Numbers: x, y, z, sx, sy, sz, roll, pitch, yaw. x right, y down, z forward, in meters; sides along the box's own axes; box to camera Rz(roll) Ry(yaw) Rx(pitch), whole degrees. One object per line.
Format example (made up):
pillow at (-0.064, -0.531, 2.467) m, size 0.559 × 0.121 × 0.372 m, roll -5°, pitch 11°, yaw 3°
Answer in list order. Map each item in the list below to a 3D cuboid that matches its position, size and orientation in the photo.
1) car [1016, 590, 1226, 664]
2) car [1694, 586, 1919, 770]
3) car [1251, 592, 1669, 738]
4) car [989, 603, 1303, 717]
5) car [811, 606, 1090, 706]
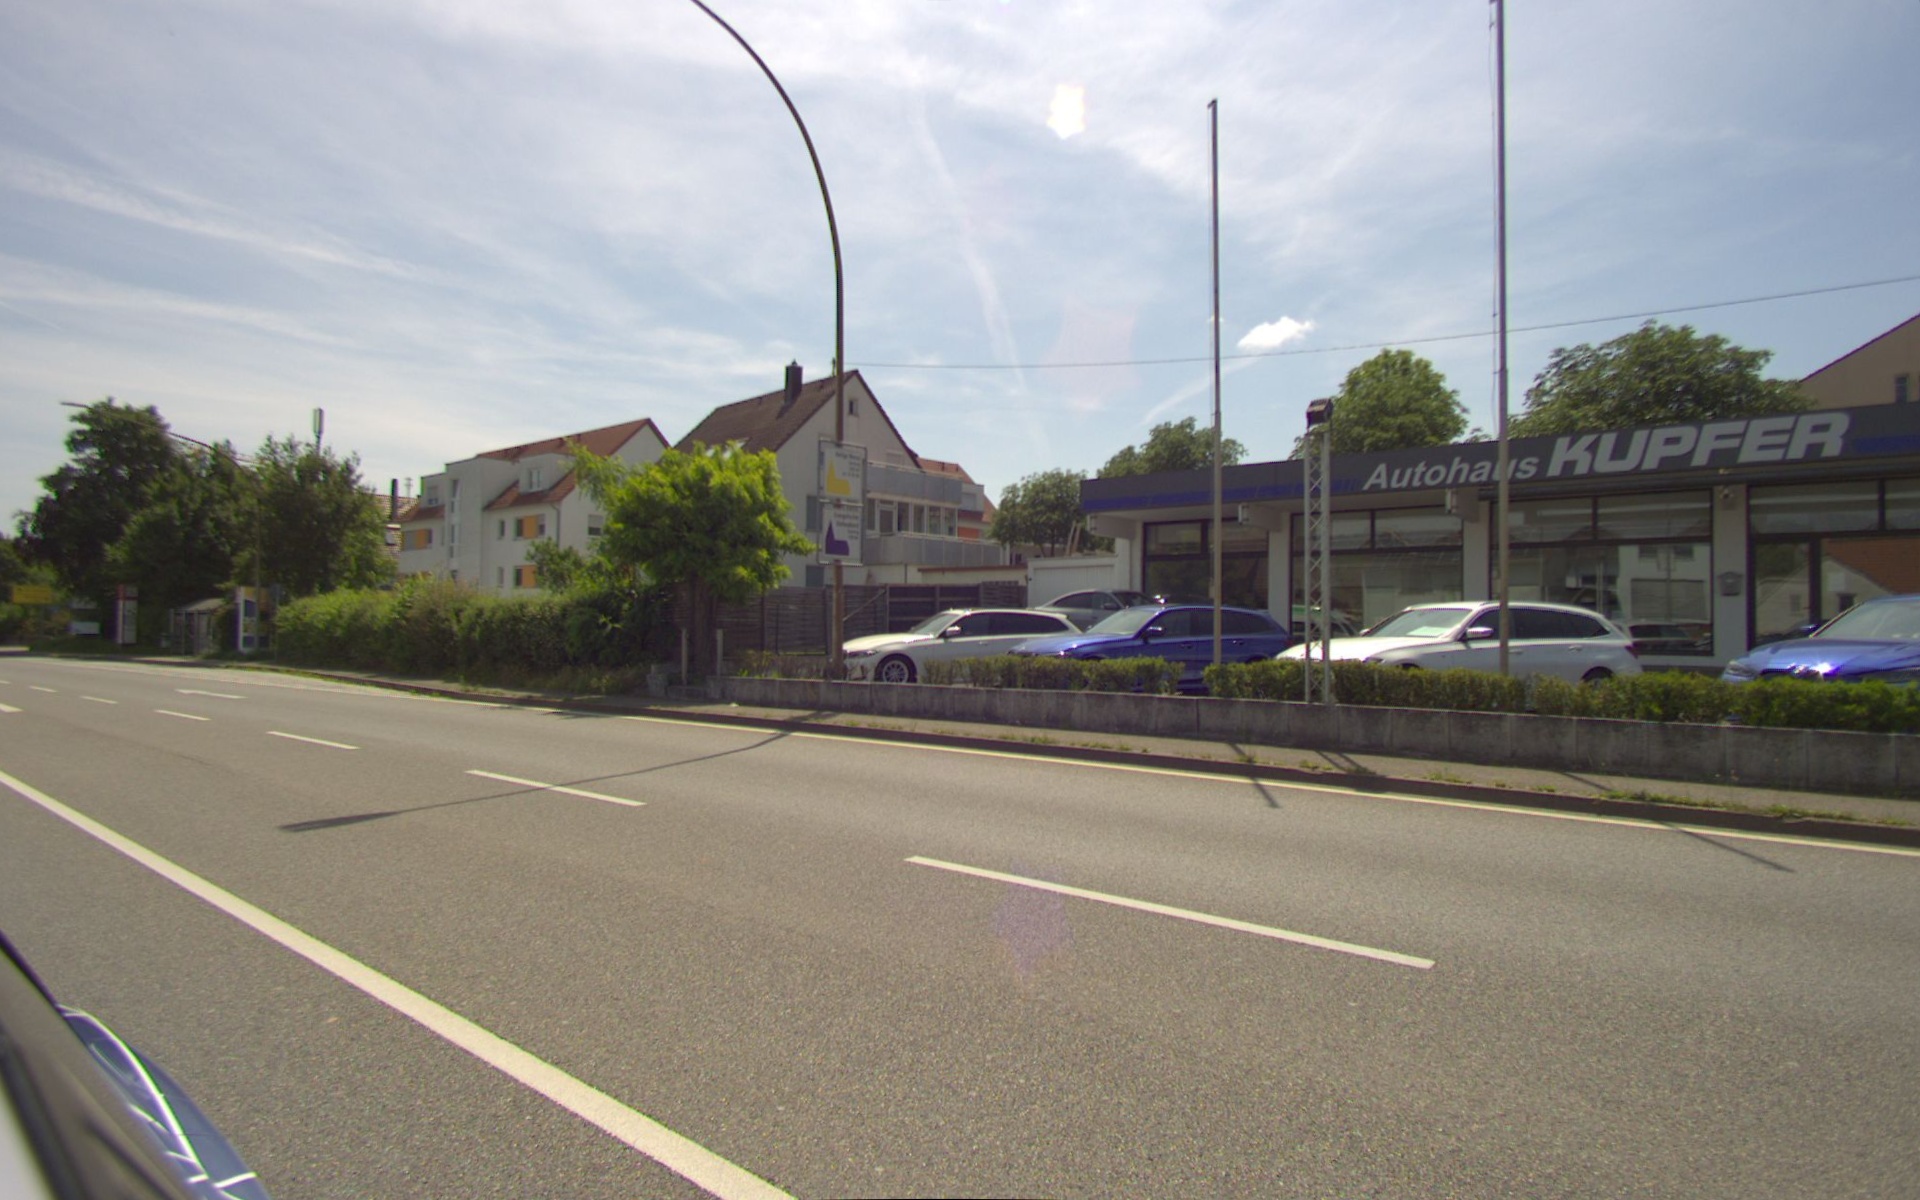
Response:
car at (3.508, 0.585, 22.798) m, size 1.782 × 1.475 × 4.588 m, roll -1°, pitch -1°, yaw -41°
car at (9.375, 0.600, 9.583) m, size 4.267 × 1.458 × 1.863 m, roll -1°, pitch 0°, yaw -21°
car at (5.978, 0.695, 12.195) m, size 4.438 × 1.458 × 1.863 m, roll -1°, pitch -1°, yaw -18°
car at (2.777, 0.801, 15.172) m, size 4.267 × 1.458 × 1.863 m, roll -1°, pitch 0°, yaw -21°
car at (-0.166, 0.895, 17.794) m, size 4.501 × 1.458 × 1.863 m, roll -2°, pitch 1°, yaw -21°
